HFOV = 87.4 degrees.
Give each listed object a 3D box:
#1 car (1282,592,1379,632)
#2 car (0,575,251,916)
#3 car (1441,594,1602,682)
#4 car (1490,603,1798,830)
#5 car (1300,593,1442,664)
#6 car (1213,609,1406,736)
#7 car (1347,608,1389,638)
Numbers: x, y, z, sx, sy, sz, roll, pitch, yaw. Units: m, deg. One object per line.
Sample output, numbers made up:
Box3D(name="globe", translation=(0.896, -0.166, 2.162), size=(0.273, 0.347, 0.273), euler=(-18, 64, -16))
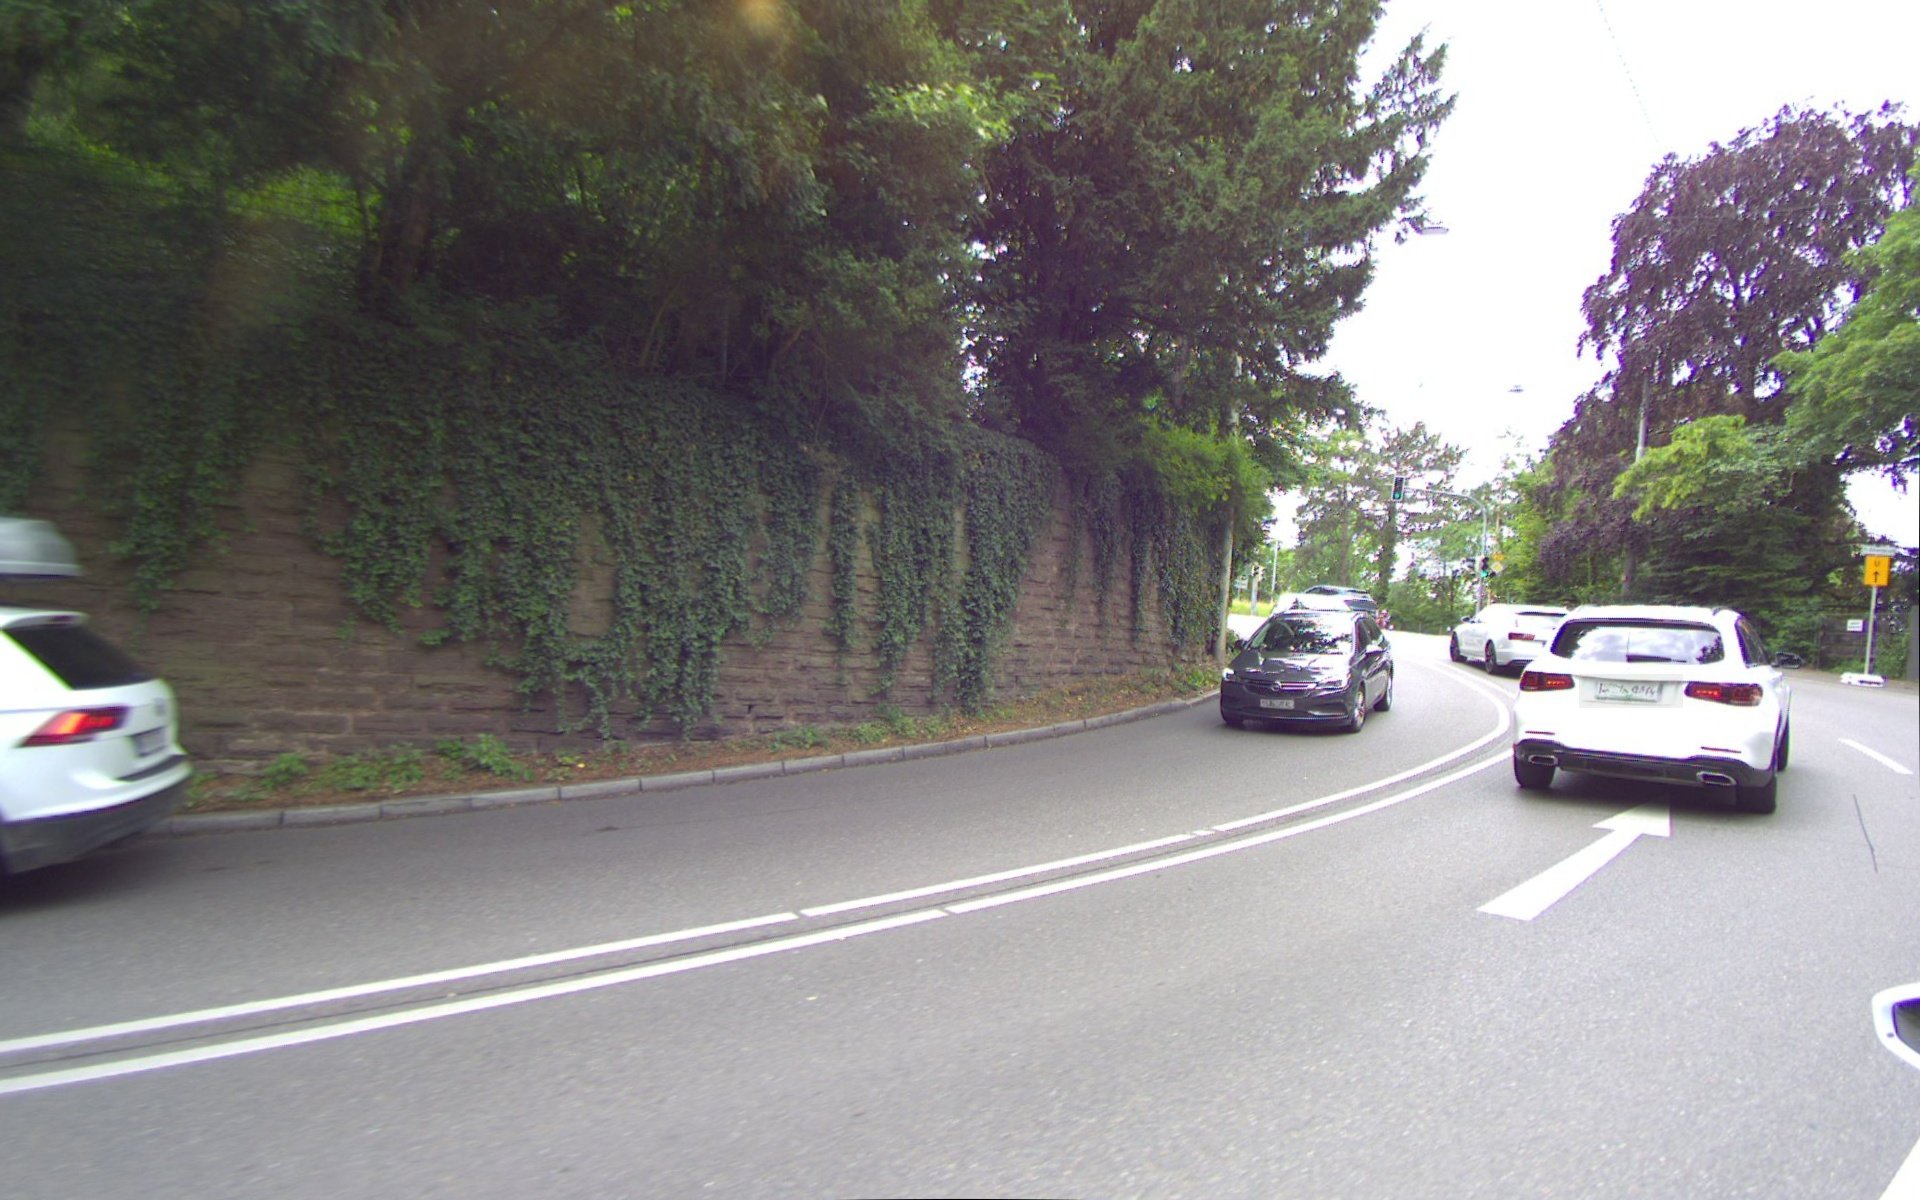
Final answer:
Box3D(name="car", translation=(15.083, 0.463, 41.070), size=(1.609, 1.439, 3.836), euler=(1, 2, -20))
Box3D(name="car", translation=(-6.390, 0.717, 5.074), size=(4.331, 1.674, 1.763), euler=(1, -2, -27))
Box3D(name="car", translation=(12.338, 0.742, 22.436), size=(1.833, 1.555, 4.778), euler=(2, 2, 13))
Box3D(name="car", translation=(6.703, 0.850, 9.591), size=(1.838, 1.627, 4.645), euler=(0, 0, 42))
Box3D(name="car", translation=(9.772, 0.615, 24.247), size=(1.772, 1.462, 3.999), euler=(1, 2, 0))
Box3D(name="car", translation=(5.059, 0.876, 14.150), size=(1.634, 1.459, 4.284), euler=(0, 0, 32))
Box3D(name="car", translation=(23.784, 1.352, 58.491), size=(1.643, 1.487, 3.949), euler=(3, -2, 30))
